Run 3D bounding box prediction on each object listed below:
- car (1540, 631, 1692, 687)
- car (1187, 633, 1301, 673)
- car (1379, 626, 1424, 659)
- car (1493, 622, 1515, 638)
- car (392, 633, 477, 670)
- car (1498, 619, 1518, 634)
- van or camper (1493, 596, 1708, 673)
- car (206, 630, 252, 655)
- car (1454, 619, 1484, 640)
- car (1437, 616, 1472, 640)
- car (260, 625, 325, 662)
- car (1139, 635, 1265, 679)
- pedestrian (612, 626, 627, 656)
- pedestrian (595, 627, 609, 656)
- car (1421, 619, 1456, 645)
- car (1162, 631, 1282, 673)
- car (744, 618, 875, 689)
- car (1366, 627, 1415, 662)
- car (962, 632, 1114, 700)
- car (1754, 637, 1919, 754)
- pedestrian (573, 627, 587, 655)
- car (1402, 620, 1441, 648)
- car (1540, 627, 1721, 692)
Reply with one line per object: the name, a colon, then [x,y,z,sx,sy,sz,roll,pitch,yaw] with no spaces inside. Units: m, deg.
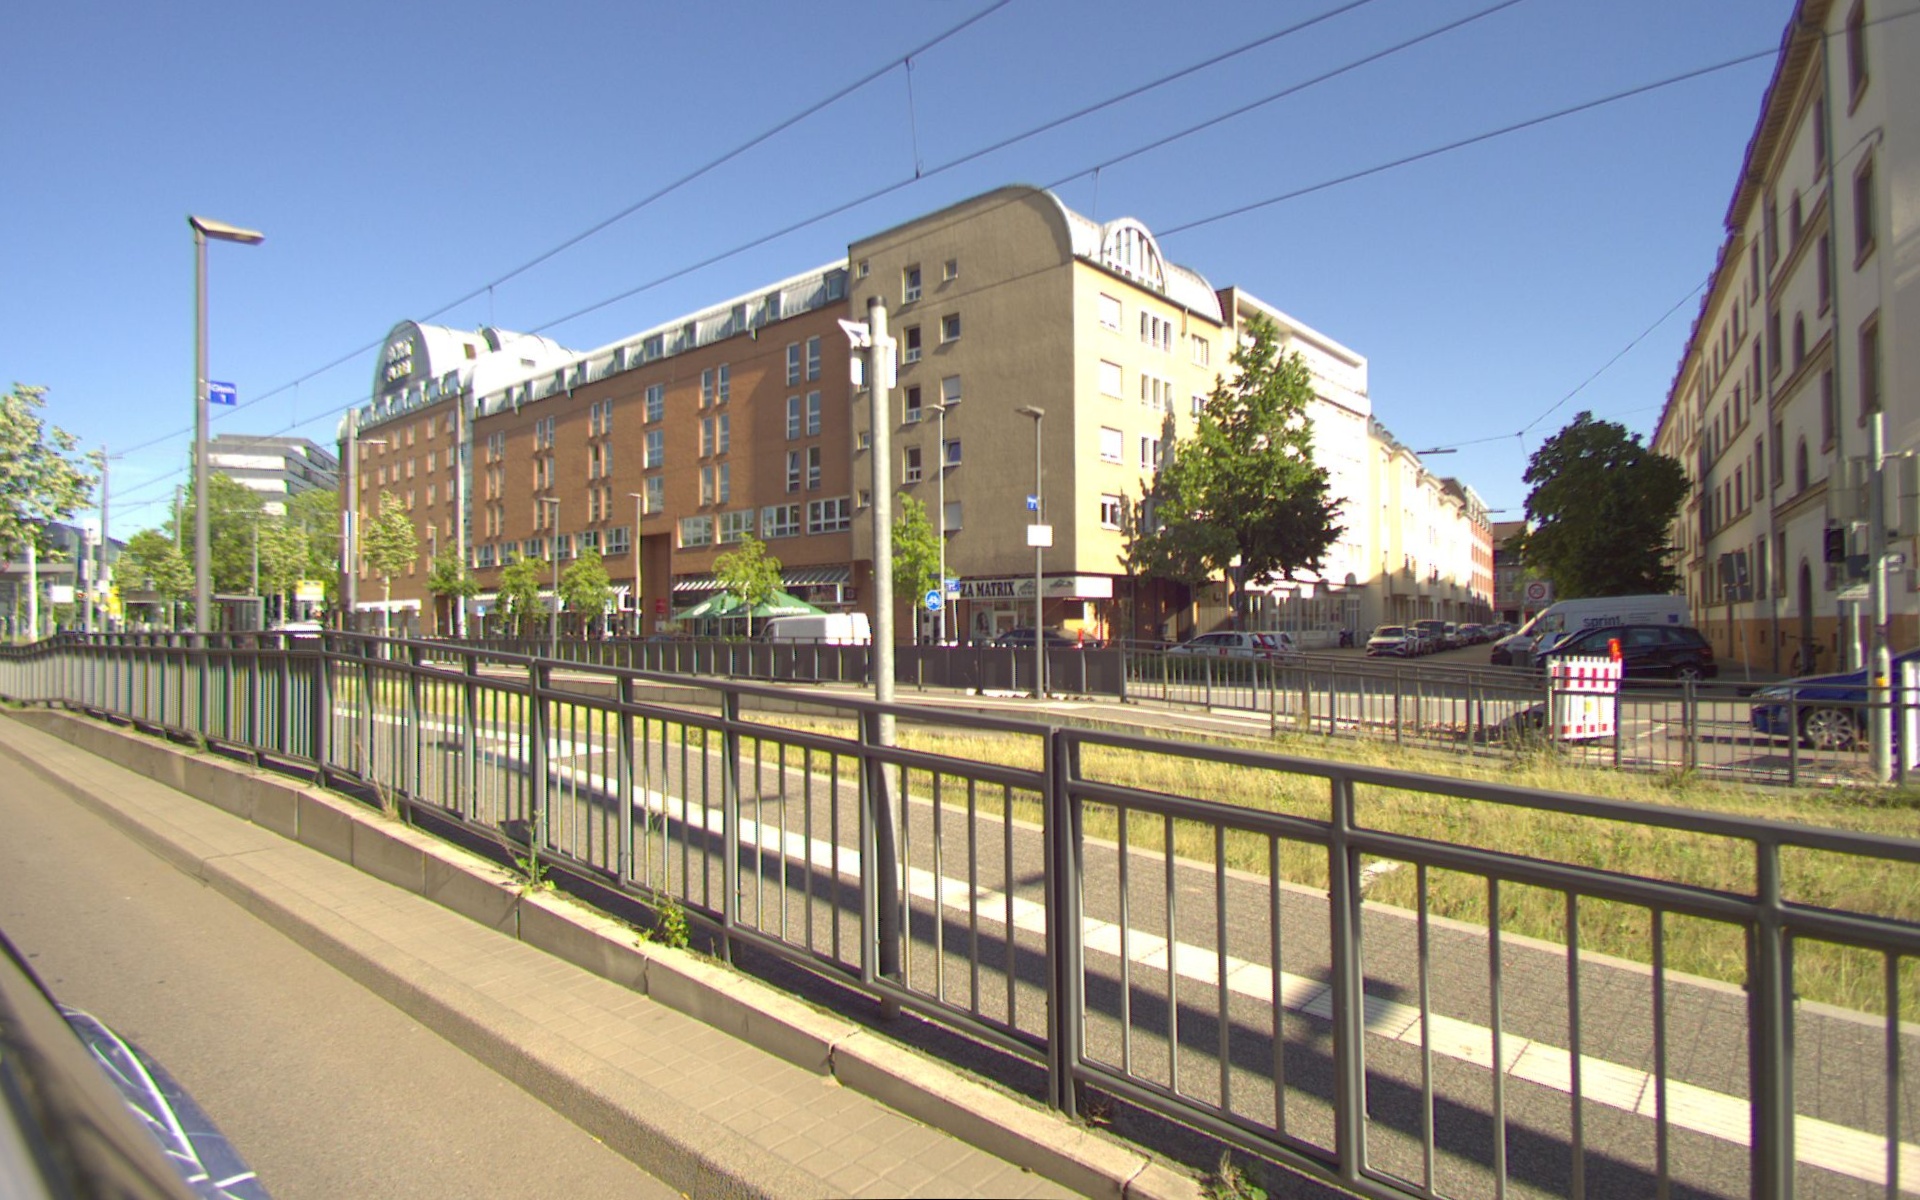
car: [19.368,1.716,30.040,3.654,1.533,1.673,-2,-2,32]
car: [10.966,2.040,39.140,3.980,1.462,1.769,-1,-2,27]
car: [23.732,2.251,54.303,1.947,1.674,3.962,-1,-2,28]
car: [59.082,3.223,109.892,1.949,1.674,3.958,-1,-2,30]
car: [-21.121,2.024,40.647,3.958,1.296,1.677,-1,0,40]
car: [64.253,3.134,118.617,1.949,1.674,3.958,-1,-2,30]
van or camper: [21.478,1.164,34.295,5.932,2.419,1.980,-1,-2,30]
car: [-54.497,3.138,75.421,3.998,1.696,1.973,-1,0,41]
car: [41.970,2.406,83.393,1.949,1.674,3.958,-1,-2,30]
car: [36.169,2.054,73.999,1.949,1.674,3.958,-1,-2,30]
car: [-35.174,2.240,53.301,4.086,1.808,1.801,-1,0,40]
car: [8.458,1.963,35.360,3.980,1.462,1.769,-1,-2,27]
pedestrian: [-20.969,2.535,62.375,0.644,1.854,0.614,-2,-3,41]
pedestrian: [-23.263,2.668,65.740,0.644,1.854,0.614,-2,-3,39]
car: [31.726,2.122,67.066,1.947,1.674,3.962,-1,-2,28]
car: [9.616,1.896,37.127,3.980,1.462,1.769,-1,-2,27]
car: [-5.568,1.889,36.844,1.969,2.388,5.653,0,-2,-41]
car: [21.418,2.178,50.284,1.947,1.674,3.962,-1,-2,28]
car: [2.158,1.814,28.556,3.997,1.773,1.796,-2,-2,40]
car: [12.090,1.169,12.394,3.650,1.386,1.557,-2,-5,41]
pedestrian: [-24.855,2.684,66.250,0.644,1.854,0.614,-2,-3,39]
car: [28.501,2.067,62.416,1.947,1.674,3.962,-1,-2,28]
car: [16.772,1.464,25.500,3.661,1.533,1.673,-2,-2,32]
